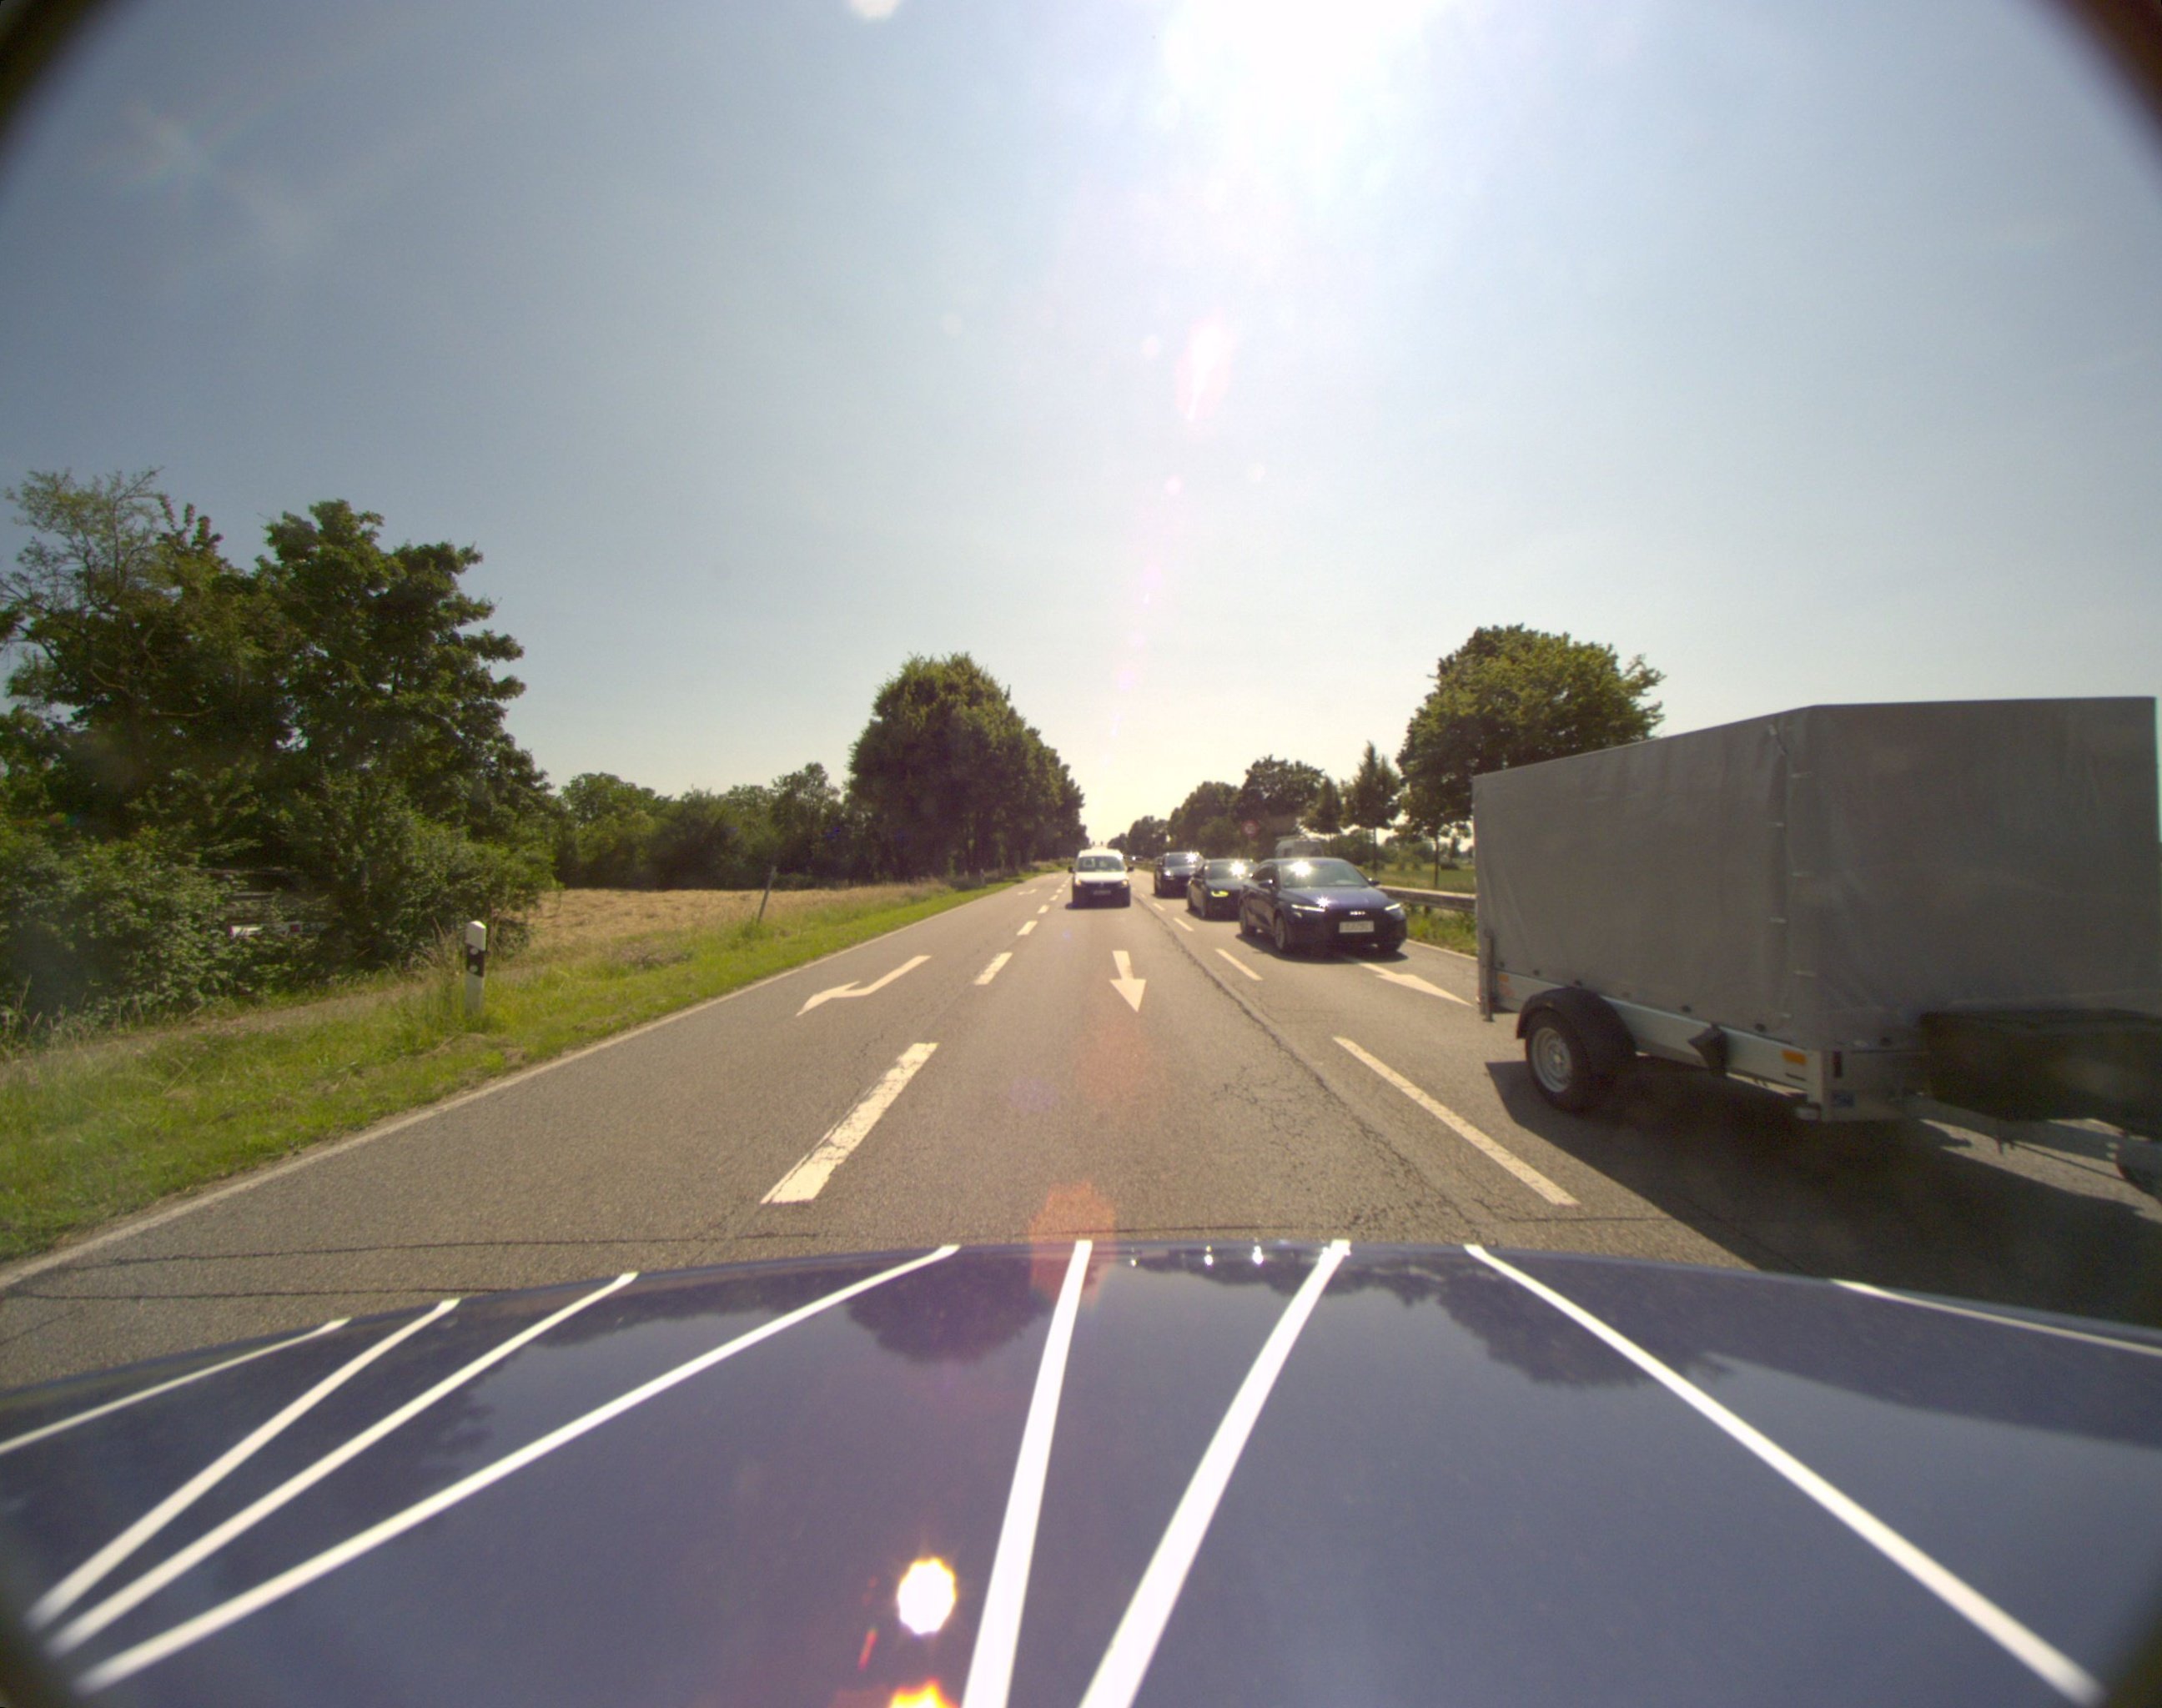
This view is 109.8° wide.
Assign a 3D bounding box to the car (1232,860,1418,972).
[{"bbox_3d":[3.778,0.872,12.509,1.721,1.456,4.029,-1,0,0],"label":"car"}]

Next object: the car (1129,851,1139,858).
[{"bbox_3d":[12.320,0.109,177.802,1.998,1.653,4.480,0,0,0],"label":"car"}]

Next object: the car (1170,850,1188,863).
[{"bbox_3d":[14.774,0.326,114.696,1.998,1.940,4.830,1,0,0],"label":"car"}]

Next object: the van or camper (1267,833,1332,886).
[{"bbox_3d":[13.333,0.312,46.746,2.269,3.081,5.695,0,0,-1],"label":"van or camper"}]

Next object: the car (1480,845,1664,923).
[{"bbox_3d":[12.920,0.720,20.420,1.862,1.845,4.696,0,0,-1],"label":"car"}]

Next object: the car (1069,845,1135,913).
[{"bbox_3d":[0.621,0.702,23.741,1.777,1.863,4.581,-2,0,1],"label":"car"}]

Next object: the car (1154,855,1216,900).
[{"bbox_3d":[3.801,0.806,28.388,1.860,1.507,4.100,-1,0,2],"label":"car"}]

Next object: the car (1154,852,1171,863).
[{"bbox_3d":[11.185,0.524,104.258,1.884,1.446,4.504,0,0,0],"label":"car"}]

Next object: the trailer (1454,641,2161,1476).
[{"bbox_3d":[3.547,0.519,3.594,1.504,2.160,4.174,-1,0,0],"label":"trailer"}]

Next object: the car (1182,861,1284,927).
[{"bbox_3d":[3.703,0.912,19.283,1.744,1.372,4.455,-2,0,1],"label":"car"}]

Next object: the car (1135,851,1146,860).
[{"bbox_3d":[11.861,0.291,152.103,1.998,1.594,4.480,0,0,0],"label":"car"}]
